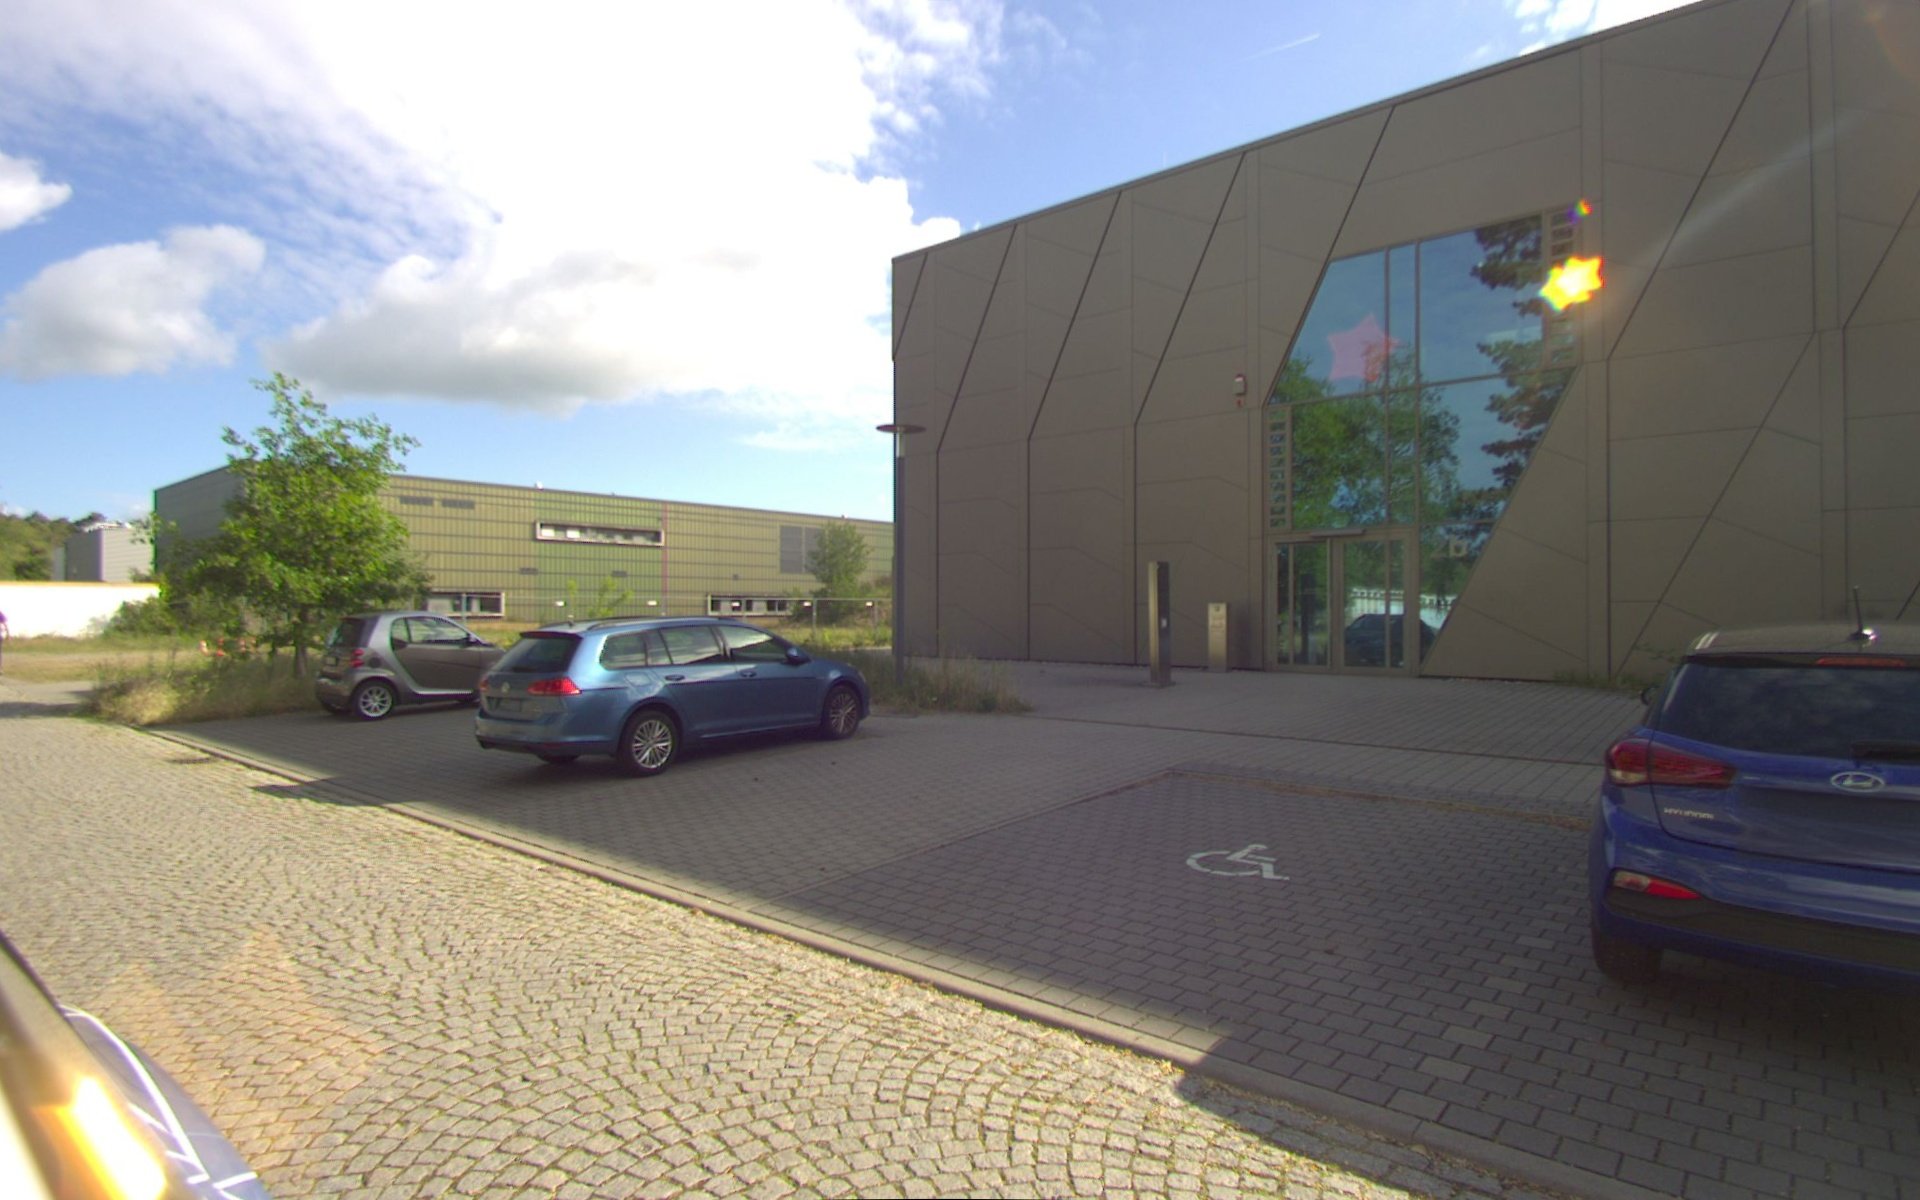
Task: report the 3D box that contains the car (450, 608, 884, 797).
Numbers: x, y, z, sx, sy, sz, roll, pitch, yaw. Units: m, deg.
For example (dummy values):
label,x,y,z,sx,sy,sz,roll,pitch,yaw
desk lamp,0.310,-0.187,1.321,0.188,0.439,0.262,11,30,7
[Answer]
label,x,y,z,sx,sy,sz,roll,pitch,yaw
car,-2.854,0.892,10.704,1.678,1.475,4.216,-1,0,38

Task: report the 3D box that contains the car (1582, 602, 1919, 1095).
label,x,y,z,sx,sy,sz,roll,pitch,yaw
car,4.263,0.785,4.613,1.720,1.475,3.794,-1,1,43

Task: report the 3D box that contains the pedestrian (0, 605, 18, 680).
label,x,y,z,sx,sy,sz,roll,pitch,yaw
pedestrian,-23.094,1.004,24.062,1.151,1.785,0.797,-1,-1,36

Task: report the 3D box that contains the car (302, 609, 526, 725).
label,x,y,z,sx,sy,sz,roll,pitch,yaw
car,-8.387,0.956,15.660,1.517,1.554,2.672,-1,1,39
